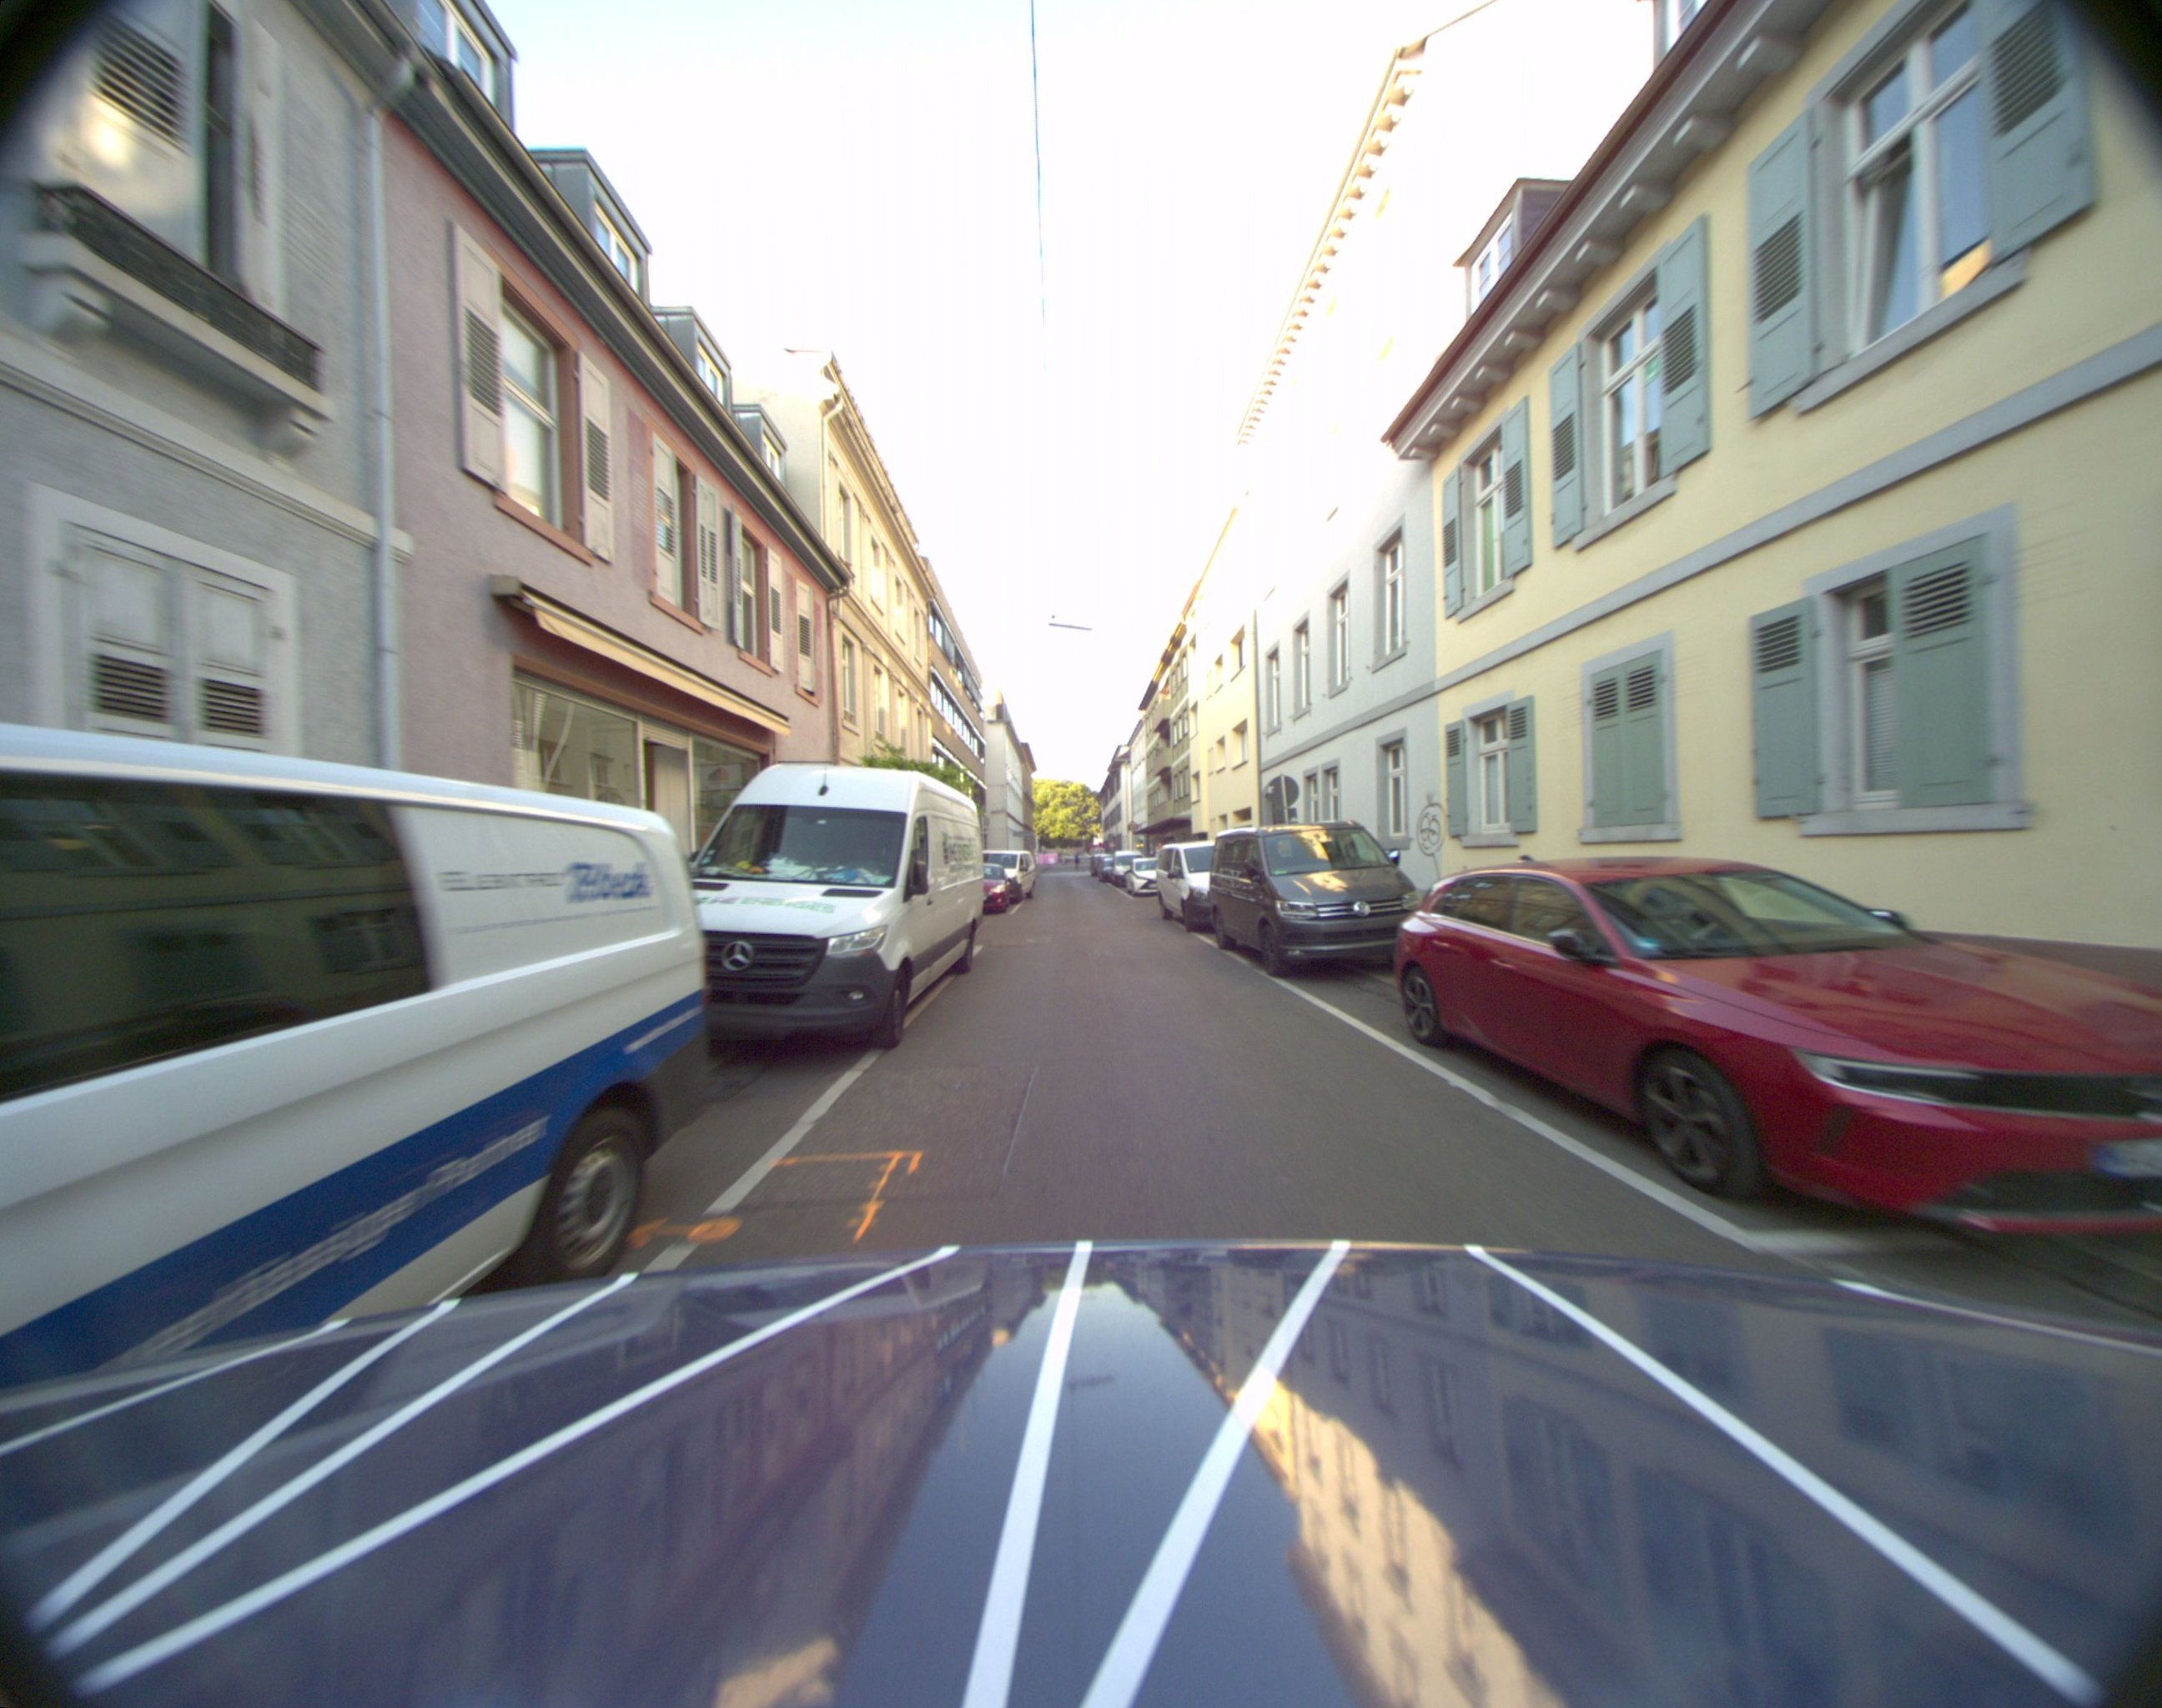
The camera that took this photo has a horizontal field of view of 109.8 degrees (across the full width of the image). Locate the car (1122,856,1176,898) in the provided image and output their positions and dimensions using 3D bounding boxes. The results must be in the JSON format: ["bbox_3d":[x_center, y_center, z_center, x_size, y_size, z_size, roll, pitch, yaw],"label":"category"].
[{"bbox_3d":[2.655,0.868,30.298,1.666,1.440,3.520,-5,0,-1],"label":"car"}]

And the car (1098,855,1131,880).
[{"bbox_3d":[2.035,0.832,47.333,1.628,1.407,3.979,-2,0,-3],"label":"car"}]

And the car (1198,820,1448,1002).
[{"bbox_3d":[3.109,0.635,10.960,1.867,2.002,4.812,-1,0,-2],"label":"car"}]

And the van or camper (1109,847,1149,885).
[{"bbox_3d":[2.470,0.606,39.623,1.777,1.837,4.178,-1,0,0],"label":"van or camper"}]

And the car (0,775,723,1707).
[{"bbox_3d":[-2.710,0.782,1.064,1.946,1.883,5.316,2,0,-1],"label":"car"}]

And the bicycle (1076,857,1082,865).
[{"bbox_3d":[-0.250,0.797,90.056,0.635,0.916,1.779,-2,0,-1],"label":"bicycle"}]

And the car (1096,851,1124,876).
[{"bbox_3d":[2.157,0.690,57.845,1.777,1.800,4.509,-2,0,-2],"label":"car"}]

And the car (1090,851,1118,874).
[{"bbox_3d":[1.861,0.674,62.971,1.882,1.800,4.449,-2,0,-4],"label":"car"}]

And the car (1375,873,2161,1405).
[{"bbox_3d":[3.434,0.897,4.382,1.769,1.393,4.262,-2,0,-1],"label":"car"}]

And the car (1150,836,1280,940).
[{"bbox_3d":[2.871,0.664,17.469,1.867,2.002,5.104,-1,0,-2],"label":"car"}]

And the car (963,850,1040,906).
[{"bbox_3d":[-2.871,0.813,28.746,1.940,1.886,5.278,-1,0,5],"label":"car"}]

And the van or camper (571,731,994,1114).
[{"bbox_3d":[-2.471,0.475,8.805,2.055,2.622,7.062,-1,0,0],"label":"van or camper"}]

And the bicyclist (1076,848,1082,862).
[{"bbox_3d":[-0.266,0.154,90.126,0.625,1.630,1.081,-2,1,-1],"label":"bicyclist"}]

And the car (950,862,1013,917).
[{"bbox_3d":[-3.014,1.039,23.617,1.659,1.496,3.752,-1,0,-3],"label":"car"}]
